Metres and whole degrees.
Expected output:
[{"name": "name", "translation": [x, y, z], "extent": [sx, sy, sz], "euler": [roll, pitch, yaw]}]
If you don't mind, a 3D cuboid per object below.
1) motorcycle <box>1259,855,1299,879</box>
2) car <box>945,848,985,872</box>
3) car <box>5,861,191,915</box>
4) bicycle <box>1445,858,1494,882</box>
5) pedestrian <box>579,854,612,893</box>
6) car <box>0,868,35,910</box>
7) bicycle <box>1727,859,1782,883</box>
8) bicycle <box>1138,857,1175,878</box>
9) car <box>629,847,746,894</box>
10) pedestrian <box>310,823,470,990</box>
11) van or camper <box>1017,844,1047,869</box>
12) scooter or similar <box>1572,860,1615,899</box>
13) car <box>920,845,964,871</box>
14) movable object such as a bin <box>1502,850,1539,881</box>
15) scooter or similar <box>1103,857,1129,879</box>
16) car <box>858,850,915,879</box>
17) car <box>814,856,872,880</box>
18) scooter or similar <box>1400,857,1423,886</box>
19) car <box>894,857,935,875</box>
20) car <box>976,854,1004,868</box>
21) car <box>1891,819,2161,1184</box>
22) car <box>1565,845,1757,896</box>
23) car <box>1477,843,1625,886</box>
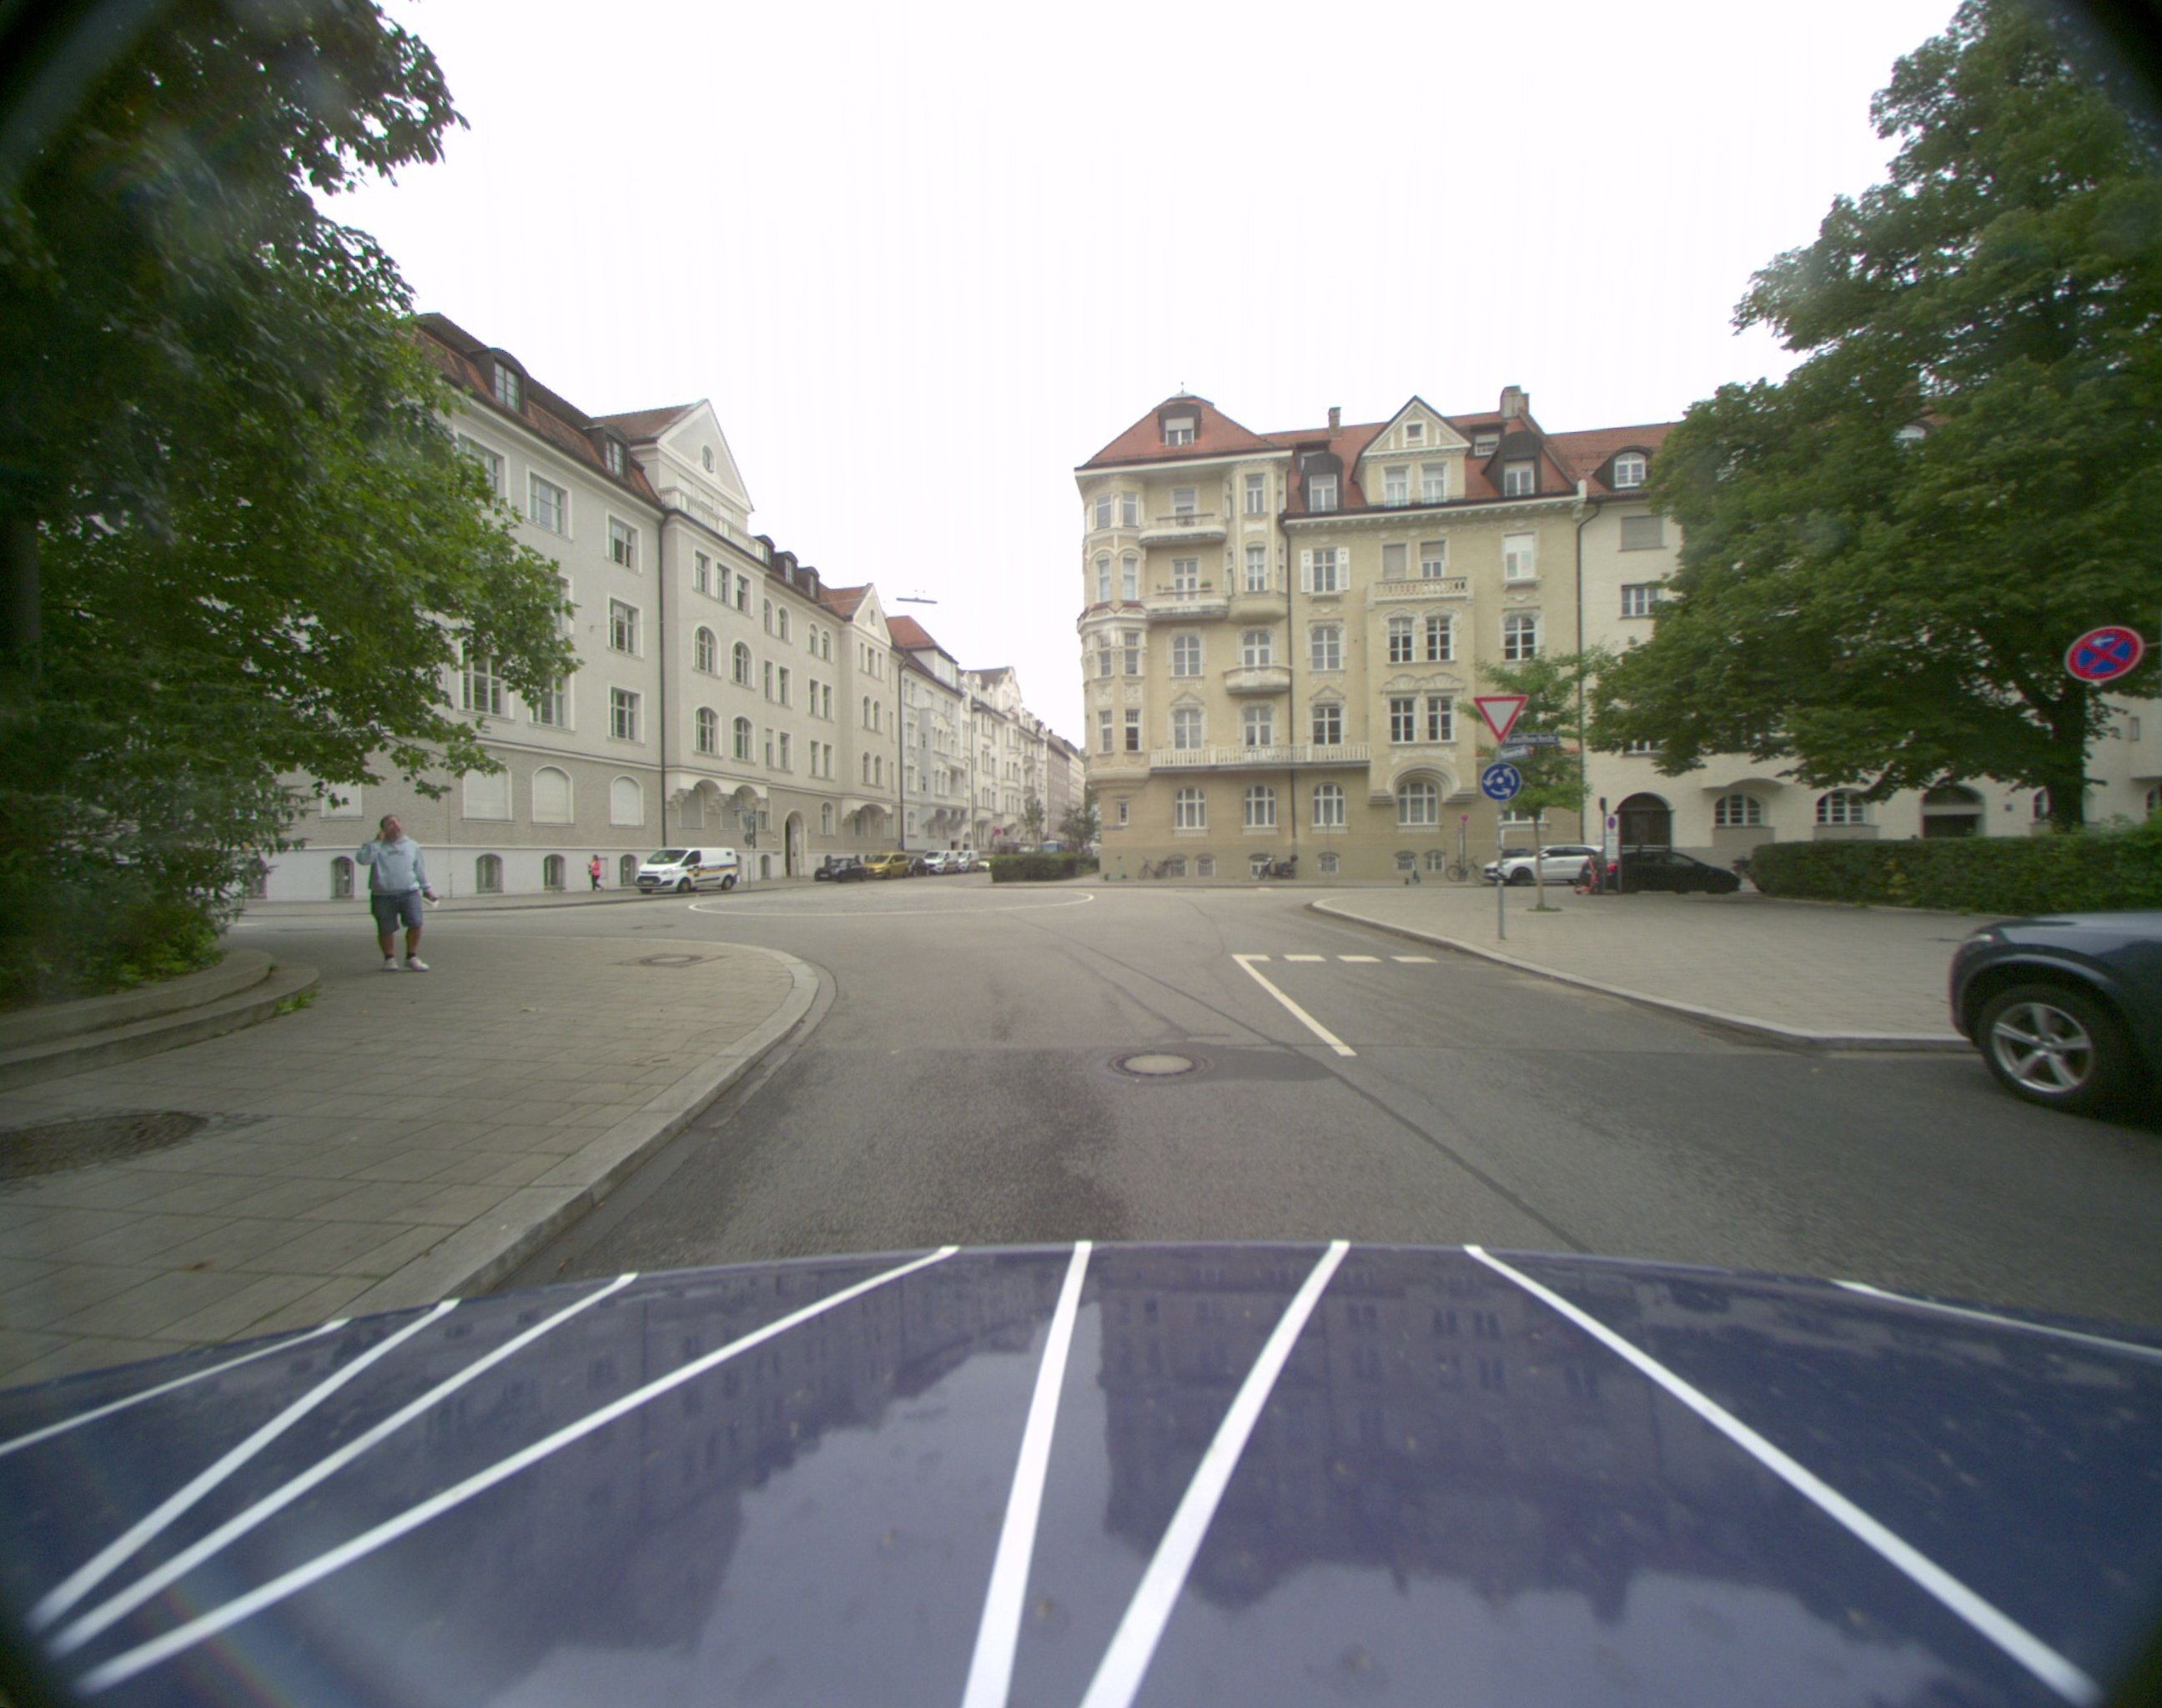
[{"name": "motorcycle", "translation": [9.703, 0.628, 37.199], "extent": [1.828, 1.169, 0.600], "euler": [-1, 1, 8]}, {"name": "car", "translation": [-10.323, 0.527, 67.952], "extent": [2.121, 1.982, 4.826], "euler": [0, 0, 10]}, {"name": "car", "translation": [-30.727, 1.040, 23.796], "extent": [4.489, 1.592, 1.754], "euler": [0, -1, 11]}, {"name": "bicycle", "translation": [17.265, 0.709, 33.778], "extent": [1.828, 1.043, 0.565], "euler": [-1, 1, 8]}, {"name": "pedestrian", "translation": [-20.371, 0.810, 31.882], "extent": [0.732, 1.626, 0.856], "euler": [0, 1, 11]}, {"name": "car", "translation": [-37.973, 1.175, 25.508], "extent": [3.658, 1.406, 1.698], "euler": [0, -1, 5]}, {"name": "bicycle", "translation": [30.267, 0.760, 34.167], "extent": [1.828, 1.043, 0.565], "euler": [-1, 1, 8]}, {"name": "bicycle", "translation": [3.819, 0.692, 38.261], "extent": [1.828, 1.043, 0.565], "euler": [-1, 1, 8]}, {"name": "car", "translation": [-17.066, 0.659, 33.287], "extent": [1.922, 1.870, 4.915], "euler": [0, 0, 10]}, {"name": "pedestrian", "translation": [-7.740, 0.551, 8.547], "extent": [1.050, 1.761, 0.877], "euler": [0, 1, 14]}, {"name": "van or camper", "translation": [-5.935, 0.233, 92.594], "extent": [1.996, 2.897, 6.443], "euler": [0, 1, 12]}, {"name": "scooter or similar", "translation": [14.711, 0.729, 21.834], "extent": [0.391, 1.082, 1.000], "euler": [-1, 1, -18]}, {"name": "car", "translation": [-11.248, 0.333, 61.899], "extent": [2.121, 2.079, 4.825], "euler": [0, 0, 8]}, {"name": "movable object such as a bin", "translation": [20.320, 0.516, 35.153], "extent": [1.171, 1.417, 1.095], "euler": [0, 1, 11]}, {"name": "scooter or similar", "translation": [1.758, 0.691, 38.333], "extent": [1.217, 1.109, 0.467], "euler": [-1, 1, -23]}, {"name": "car", "translation": [-12.973, 0.675, 50.880], "extent": [2.023, 1.828, 4.140], "euler": [0, 0, 13]}, {"name": "car", "translation": [-14.223, 0.807, 45.594], "extent": [1.694, 1.338, 3.683], "euler": [0, 0, 11]}, {"name": "scooter or similar", "translation": [14.197, 0.738, 32.638], "extent": [1.218, 1.187, 0.466], "euler": [-1, 1, -42]}, {"name": "car", "translation": [-12.229, 0.861, 55.913], "extent": [1.694, 1.338, 3.542], "euler": [0, 0, 10]}, {"name": "car", "translation": [-8.812, 0.687, 73.503], "extent": [1.694, 1.338, 3.542], "euler": [0, 0, 10]}, {"name": "car", "translation": [6.185, 0.739, 2.509], "extent": [1.998, 1.781, 4.914], "euler": [1, 1, 5]}, {"name": "car", "translation": [17.746, 0.510, 23.426], "extent": [4.417, 1.496, 1.825], "euler": [0, -1, 4]}, {"name": "car", "translation": [19.268, 0.414, 31.367], "extent": [4.833, 1.691, 1.983], "euler": [-1, 1, 8]}]
